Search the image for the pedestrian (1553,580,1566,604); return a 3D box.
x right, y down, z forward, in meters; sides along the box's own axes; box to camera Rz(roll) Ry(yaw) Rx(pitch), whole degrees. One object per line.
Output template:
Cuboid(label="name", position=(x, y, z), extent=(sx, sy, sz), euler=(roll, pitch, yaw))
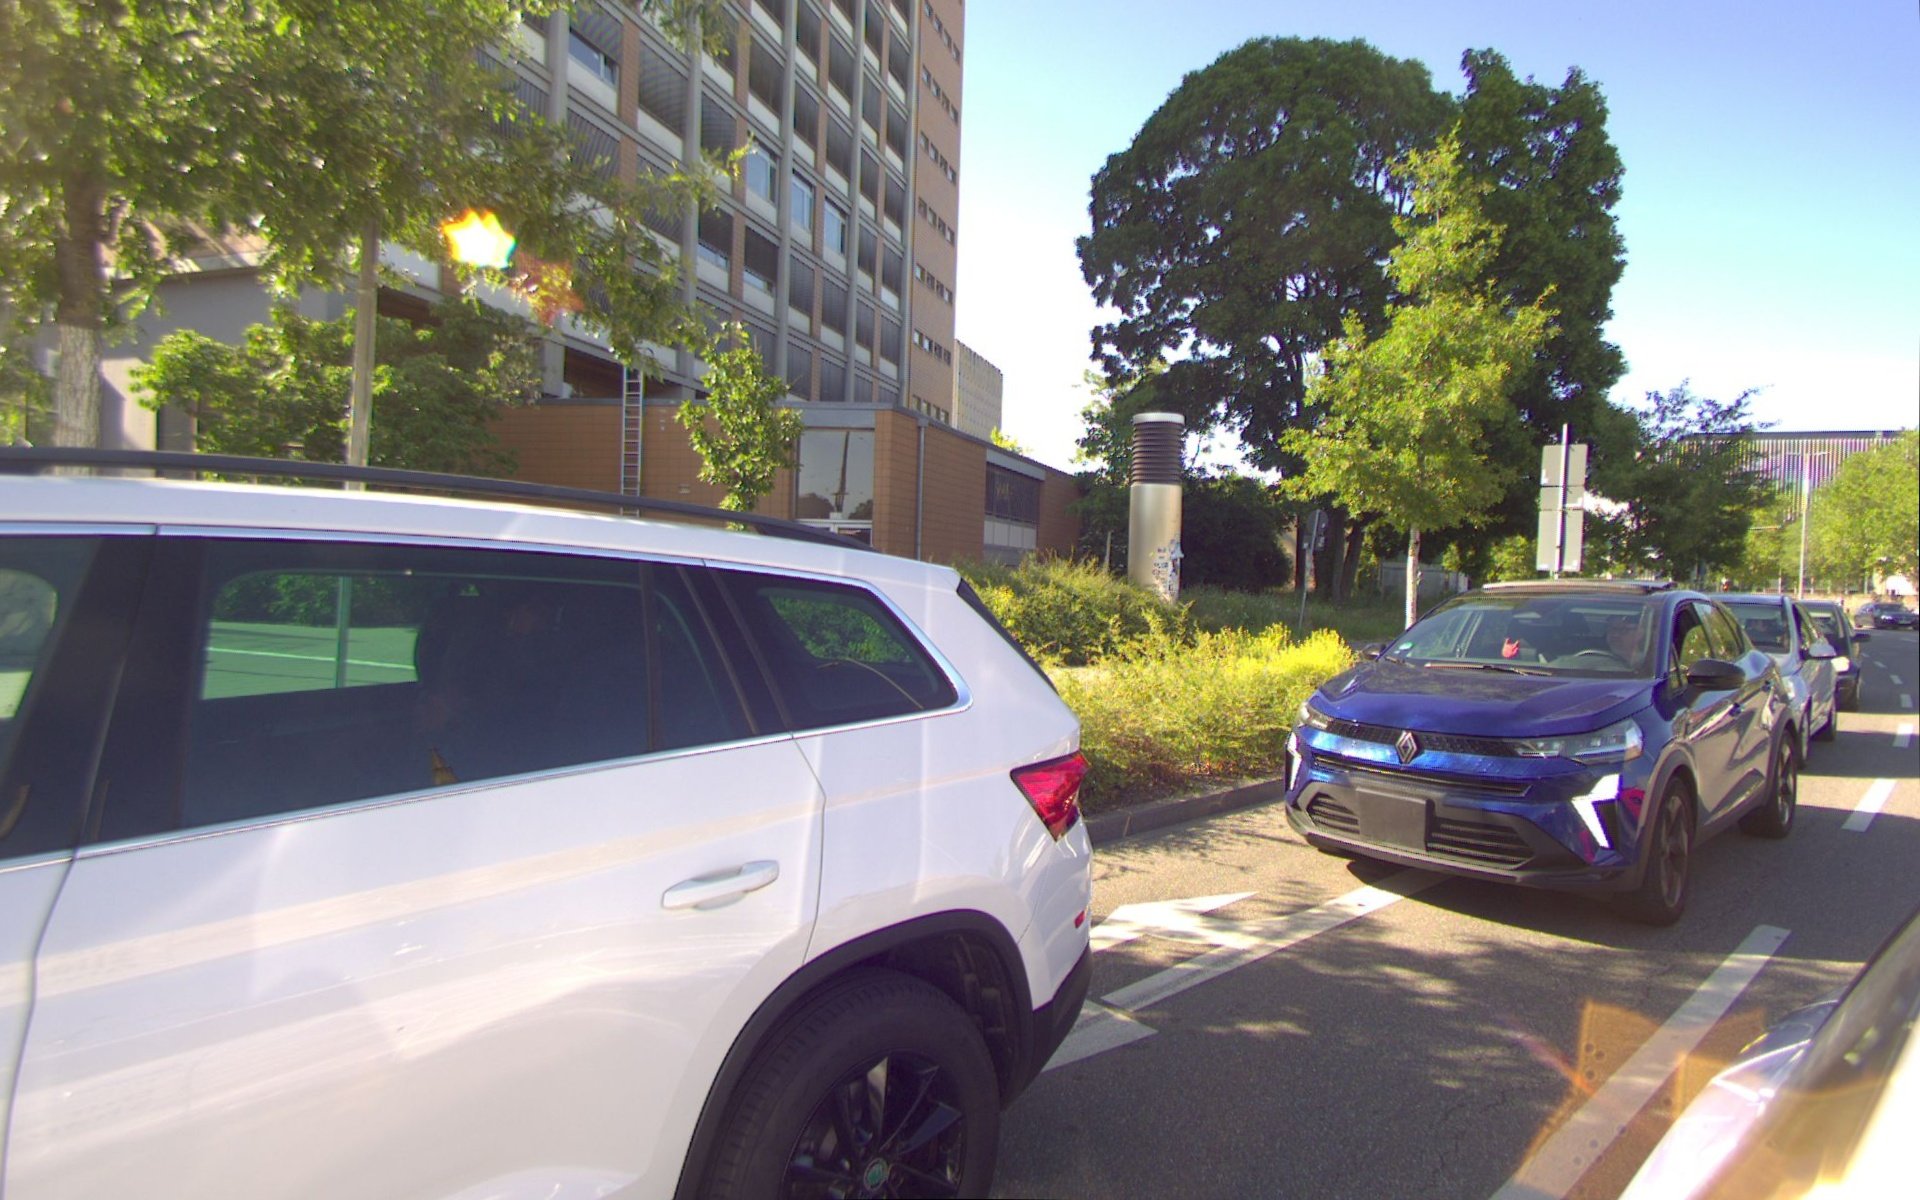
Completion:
Cuboid(label="pedestrian", position=(49.786, -0.661, 83.998), extent=(0.813, 1.941, 0.766), euler=(0, 0, 24))

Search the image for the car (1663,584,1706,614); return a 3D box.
Cuboid(label="car", position=(47.901, -0.082, 66.984), extent=(1.812, 1.876, 3.715), euler=(2, 1, 28))

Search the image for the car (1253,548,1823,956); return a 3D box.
Cuboid(label="car", position=(3.620, 0.593, 6.008), extent=(4.012, 1.626, 1.704), euler=(0, 1, -41))

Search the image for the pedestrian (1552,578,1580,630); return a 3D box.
Cuboid(label="pedestrian", position=(19.207, 0.123, 32.070), extent=(0.688, 1.624, 0.653), euler=(2, 1, 35))

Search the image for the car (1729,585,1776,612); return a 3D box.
Cuboid(label="car", position=(62.127, -0.155, 79.428), extent=(1.767, 2.039, 4.201), euler=(1, 1, 22))

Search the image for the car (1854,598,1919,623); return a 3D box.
Cuboid(label="car", position=(49.490, 0.549, 53.676), extent=(1.564, 1.219, 3.977), euler=(2, 2, 18))

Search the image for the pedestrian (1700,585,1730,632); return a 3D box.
Cuboid(label="pedestrian", position=(26.229, 0.288, 35.153), extent=(0.680, 1.624, 0.661), euler=(1, 1, -39))

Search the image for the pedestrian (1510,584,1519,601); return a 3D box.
Cuboid(label="pedestrian", position=(62.654, -0.851, 114.405), extent=(0.812, 1.941, 0.766), euler=(0, 0, 23))

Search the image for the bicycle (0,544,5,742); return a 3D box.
Cuboid(label="bicycle", position=(-6.611, 0.277, 5.660), extent=(1.802, 1.232, 0.691), euler=(0, 3, -41))

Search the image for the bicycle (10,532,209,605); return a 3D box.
Cuboid(label="bicycle", position=(-17.545, -0.637, 21.020), extent=(0.790, 1.394, 3.111), euler=(2, 1, 26))

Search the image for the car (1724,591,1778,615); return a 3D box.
Cuboid(label="car", position=(50.977, 0.183, 65.297), extent=(1.862, 1.500, 3.967), euler=(1, 1, 24))

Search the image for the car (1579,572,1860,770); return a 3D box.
Cuboid(label="car", position=(8.091, 0.589, 10.641), extent=(3.977, 1.645, 1.782), euler=(0, 2, -45))

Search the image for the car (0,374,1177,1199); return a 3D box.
Cuboid(label="car", position=(-1.615, 0.565, 1.672), extent=(4.223, 1.662, 1.697), euler=(0, 2, -42))

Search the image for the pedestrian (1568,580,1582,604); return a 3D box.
Cuboid(label="pedestrian", position=(50.618, -0.655, 83.297), extent=(0.813, 1.941, 0.766), euler=(0, 0, 24))

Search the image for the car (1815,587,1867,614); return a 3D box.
Cuboid(label="car", position=(56.513, 0.015, 64.992), extent=(1.578, 1.625, 3.048), euler=(2, 1, 23))

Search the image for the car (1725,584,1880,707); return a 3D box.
Cuboid(label="car", position=(13.109, 0.612, 15.679), extent=(1.646, 1.631, 3.435), euler=(3, 2, 43))

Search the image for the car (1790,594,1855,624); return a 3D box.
Cuboid(label="car", position=(43.190, 0.428, 50.749), extent=(1.737, 1.396, 3.538), euler=(1, 1, 29))

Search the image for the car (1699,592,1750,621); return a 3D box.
Cuboid(label="car", position=(42.033, 0.343, 55.674), extent=(1.737, 1.494, 3.538), euler=(0, 1, 29))
